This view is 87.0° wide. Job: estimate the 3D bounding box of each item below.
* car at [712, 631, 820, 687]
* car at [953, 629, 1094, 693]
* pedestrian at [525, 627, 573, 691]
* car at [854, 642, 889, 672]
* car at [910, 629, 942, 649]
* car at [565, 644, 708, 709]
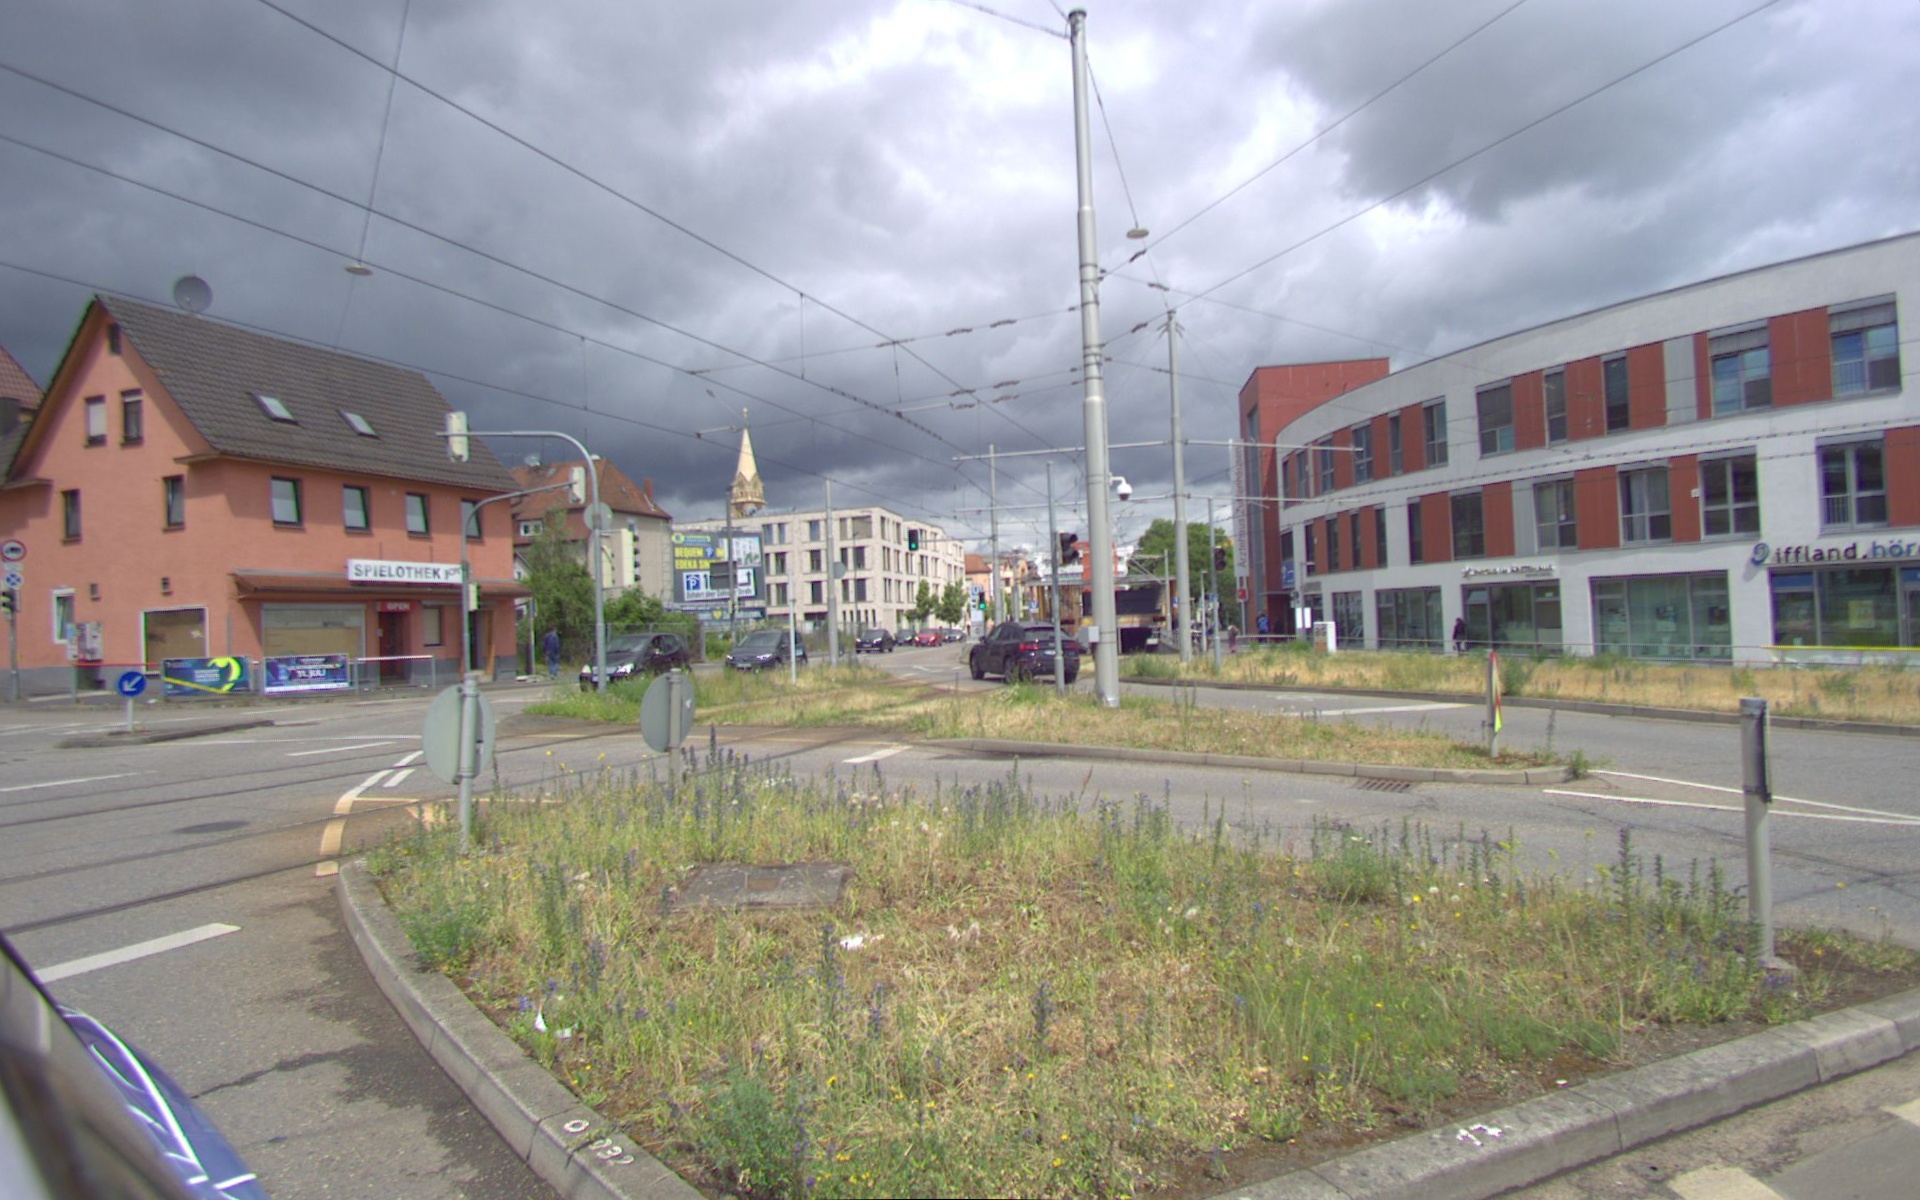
[{"bbox_3d":[-6.833,2.060,36.092,1.982,1.662,4.397,-4,-1,16],"label":"car"},{"bbox_3d":[1.627,1.622,27.633,1.920,1.581,4.502,2,-3,-25],"label":"car"},{"bbox_3d":[-14.157,2.020,34.883,1.046,2.164,1.119,-2,-2,24],"label":"pedestrian"},{"bbox_3d":[-5.640,3.645,65.014,1.971,1.684,4.002,-3,-1,-3],"label":"car"},{"bbox_3d":[-2.800,3.267,85.225,1.977,1.469,3.990,-3,-1,8],"label":"car"},{"bbox_3d":[-8.719,2.029,27.634,1.866,1.439,3.981,-4,-1,14],"label":"car"}]
